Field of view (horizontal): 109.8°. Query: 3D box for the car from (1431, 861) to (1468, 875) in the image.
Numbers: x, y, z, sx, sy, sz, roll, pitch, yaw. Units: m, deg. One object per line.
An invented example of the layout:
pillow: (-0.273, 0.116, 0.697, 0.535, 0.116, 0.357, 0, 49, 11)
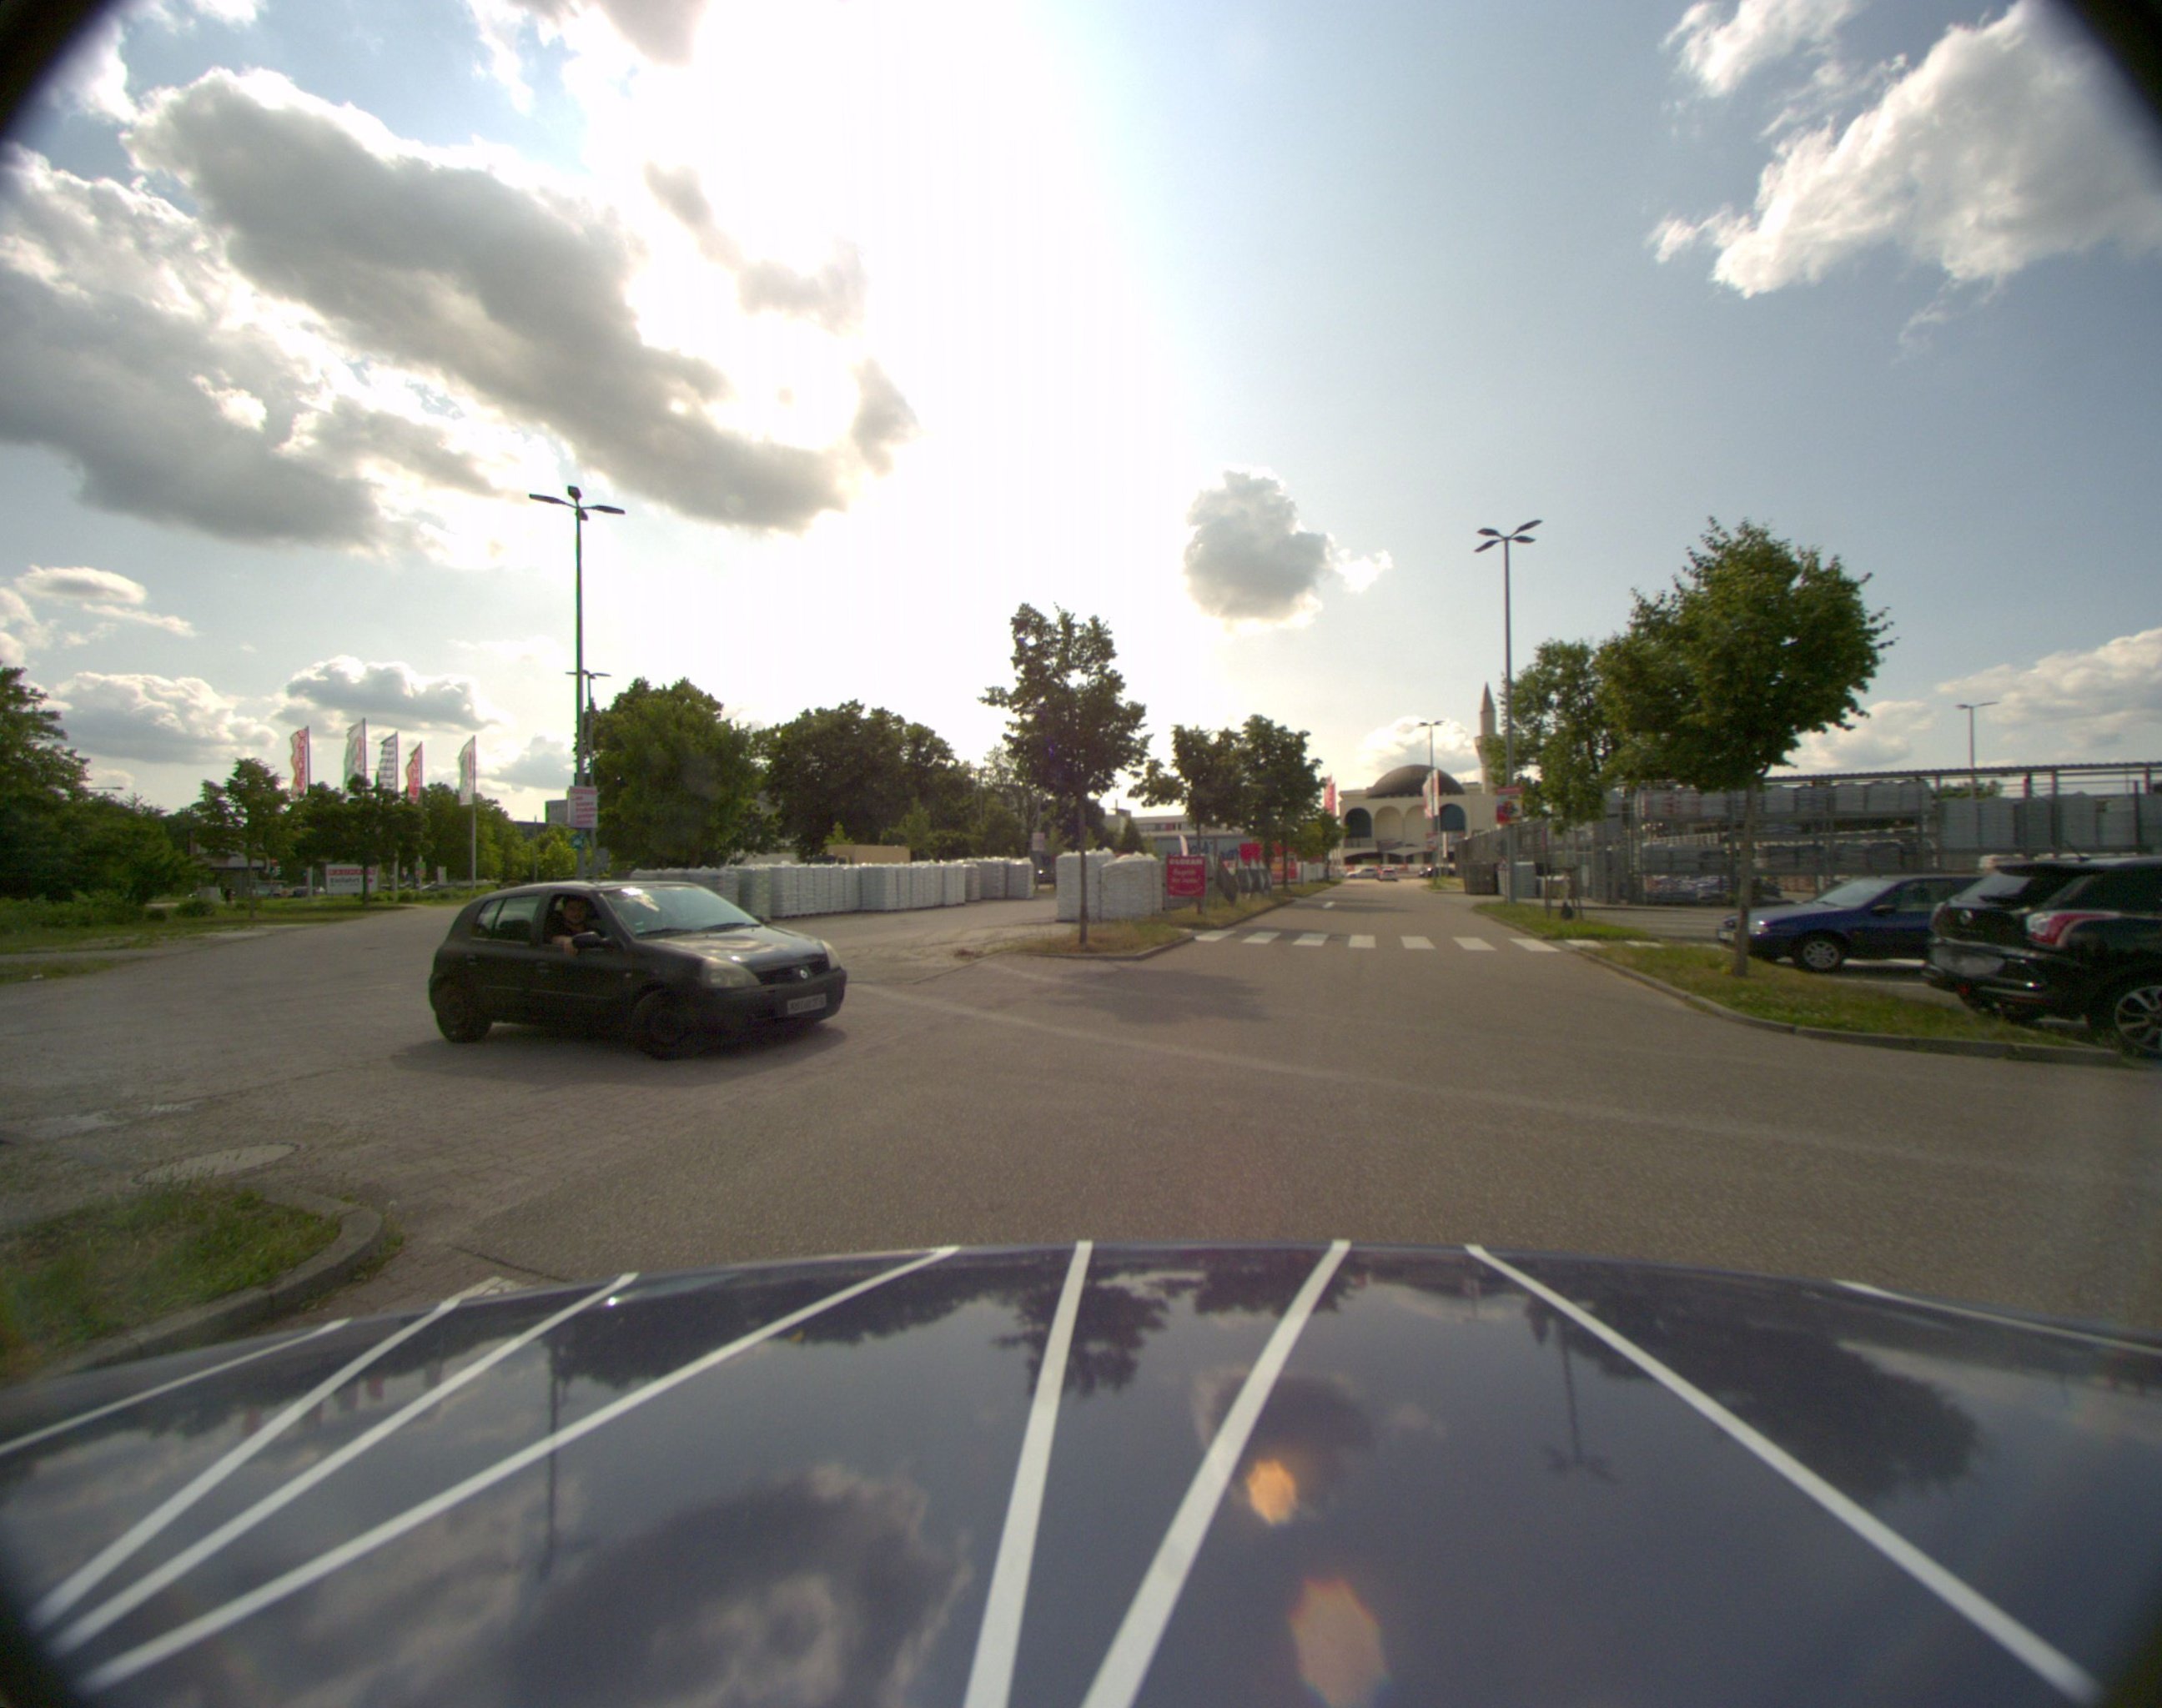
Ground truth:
car: (47.067, 1.779, 97.126, 3.991, 1.636, 1.910, -1, 0, 19)

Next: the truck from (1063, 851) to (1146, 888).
truck: (1.650, 1.092, 53.546, 5.433, 2.500, 2.120, -1, -1, 19)

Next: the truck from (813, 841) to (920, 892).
truck: (-16.089, 0.960, 57.914, 2.723, 3.577, 9.053, 0, -1, 23)

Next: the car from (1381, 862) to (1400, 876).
car: (34.049, 1.631, 83.636, 1.805, 1.456, 4.336, -1, -1, 23)

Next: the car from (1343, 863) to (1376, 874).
car: (38.139, 2.022, 104.142, 4.184, 1.500, 1.795, -1, -1, 22)

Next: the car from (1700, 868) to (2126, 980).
car: (11.431, 0.903, 10.807, 3.754, 1.359, 1.624, -1, -1, 21)

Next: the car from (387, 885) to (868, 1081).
car: (-3.967, 0.957, 6.698, 3.778, 1.313, 1.614, -1, -1, 20)

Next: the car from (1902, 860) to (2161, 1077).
car: (9.641, 0.848, 5.973, 3.953, 1.615, 1.739, -1, -1, 23)

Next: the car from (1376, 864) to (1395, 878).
car: (36.054, 2.024, 90.029, 1.917, 1.608, 4.381, 0, -1, 20)

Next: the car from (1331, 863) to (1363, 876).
car: (35.571, 2.012, 101.638, 3.990, 1.615, 1.781, 0, 3, 24)
